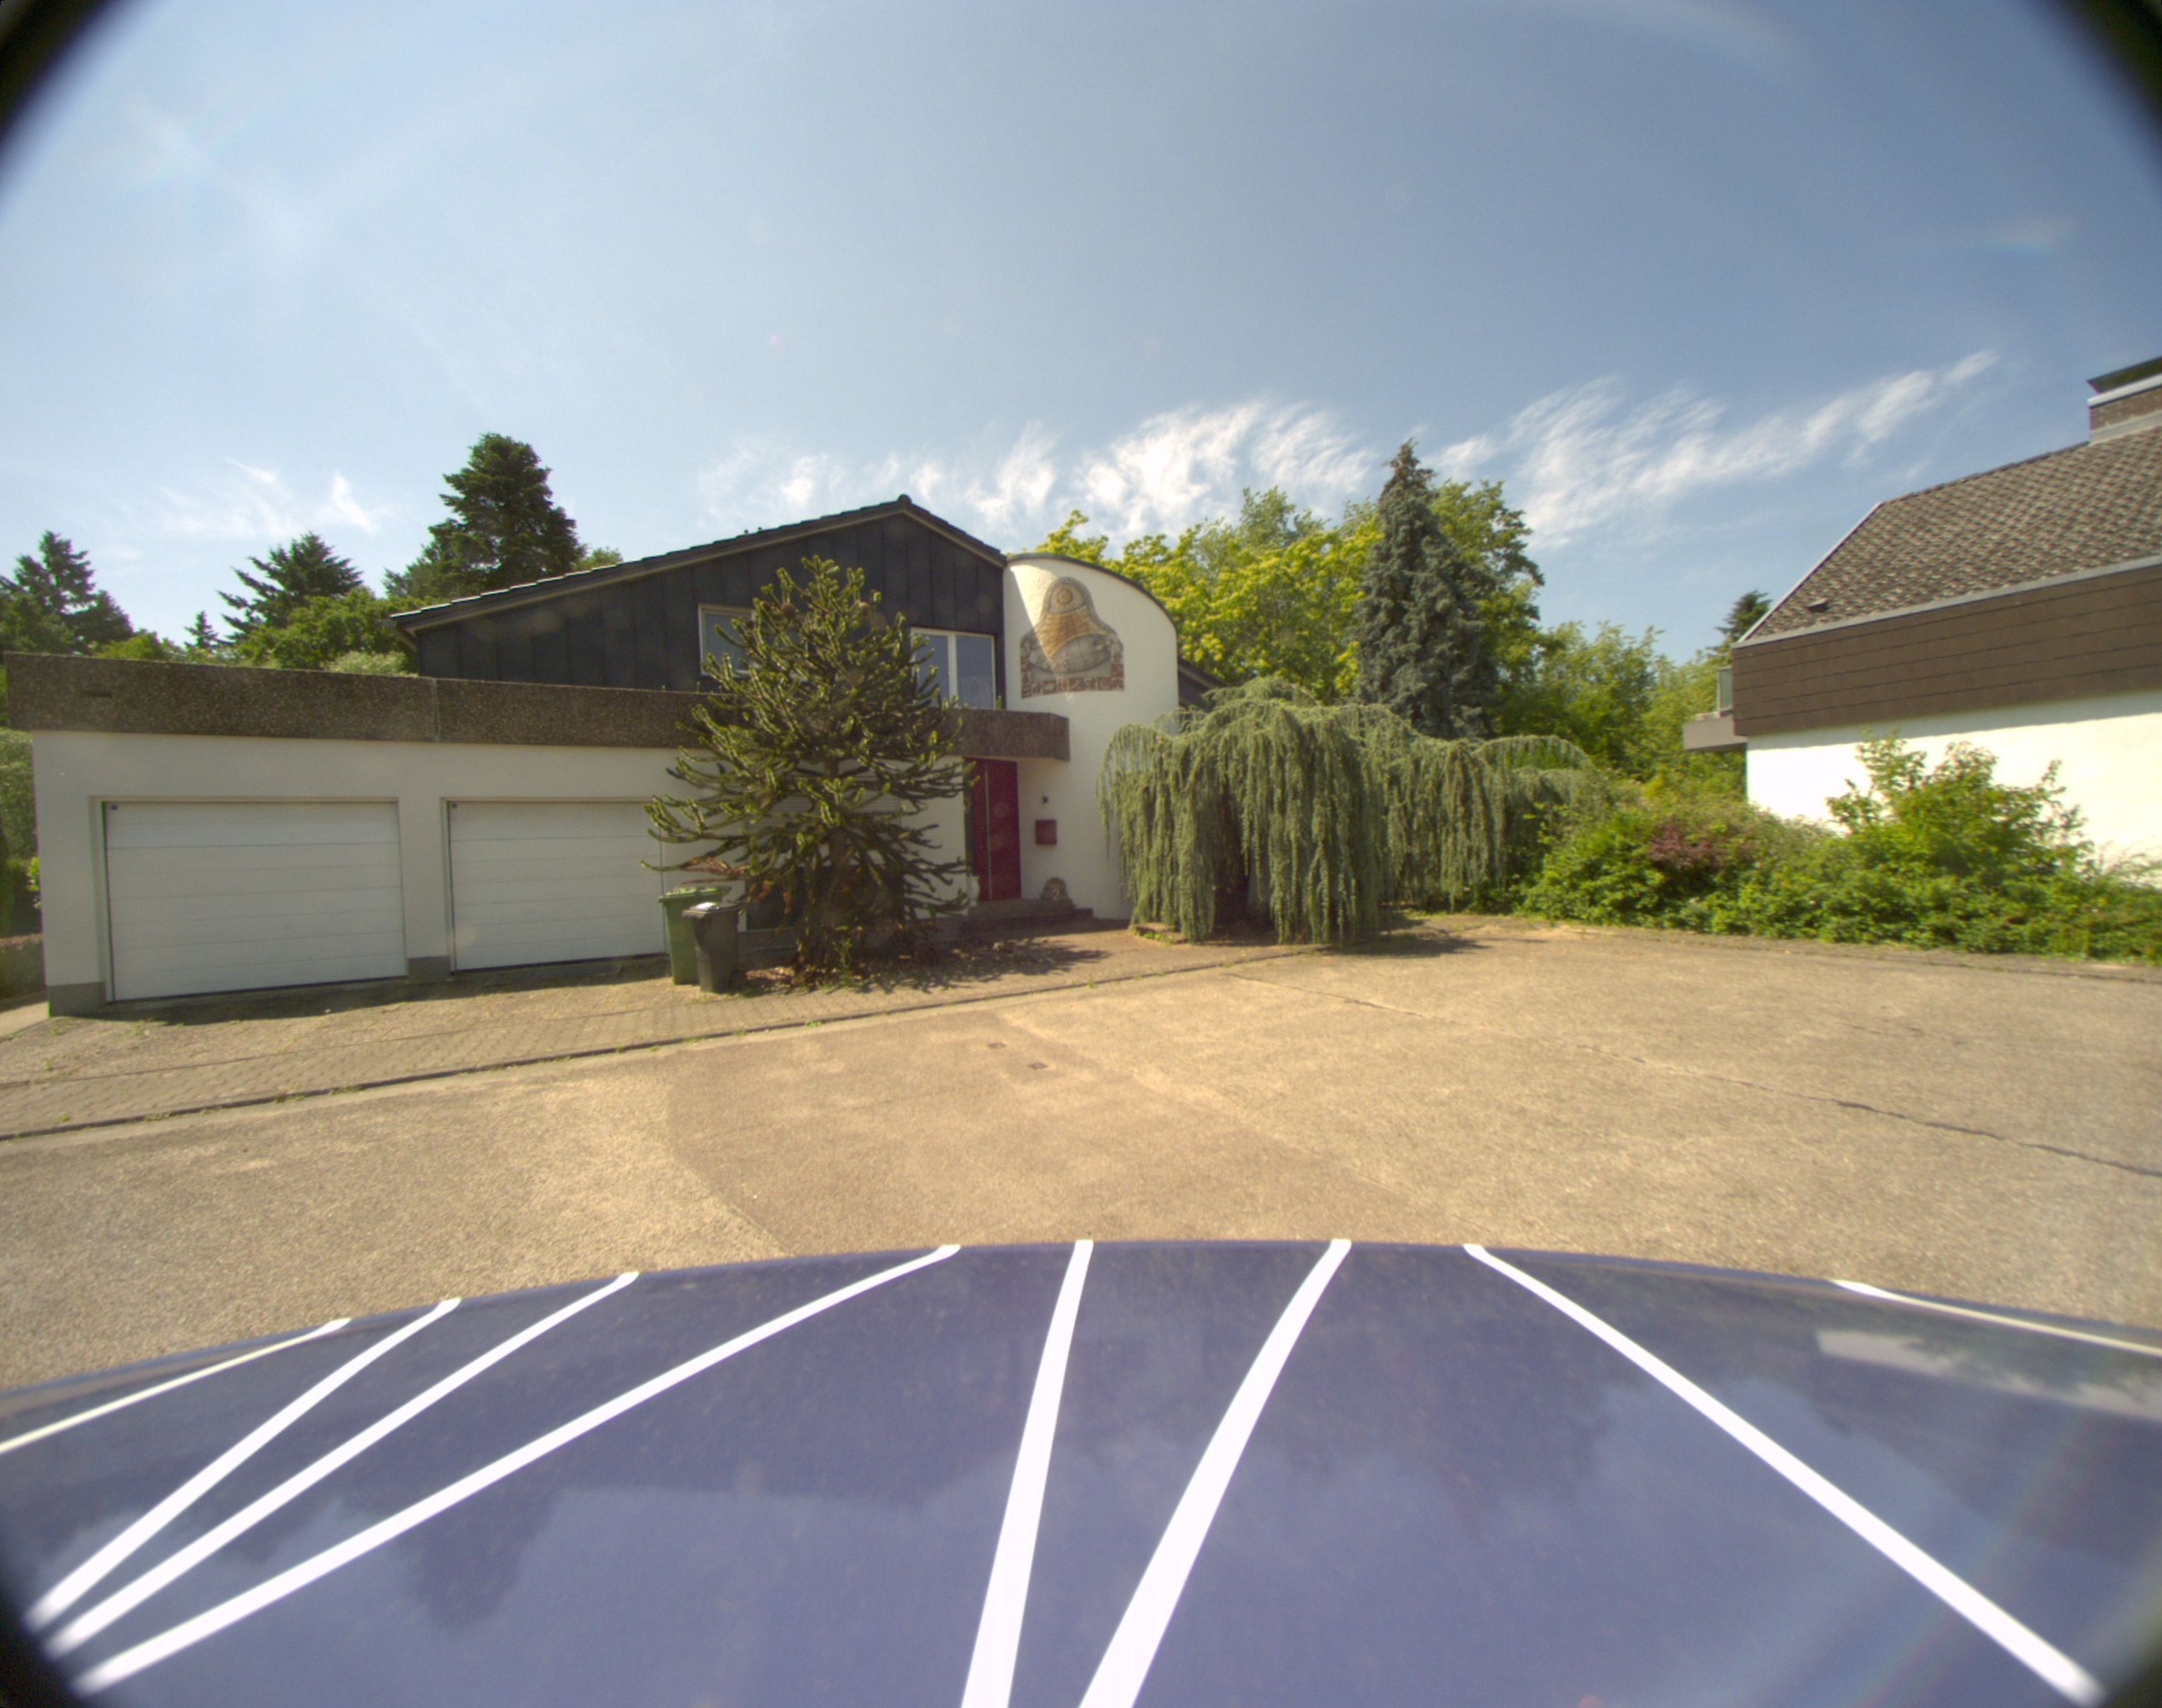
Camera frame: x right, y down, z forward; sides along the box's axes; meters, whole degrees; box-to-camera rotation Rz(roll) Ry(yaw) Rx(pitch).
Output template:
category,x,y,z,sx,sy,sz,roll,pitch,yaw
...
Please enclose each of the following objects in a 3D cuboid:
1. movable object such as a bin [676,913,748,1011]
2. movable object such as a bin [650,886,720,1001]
category,x,y,z,sx,sy,sz,roll,pitch,yaw
movable object such as a bin,-3.909,1.131,8.065,0.388,0.944,0.525,-1,1,35
movable object such as a bin,-4.461,0.981,8.572,0.635,1.196,0.550,-3,1,-28
